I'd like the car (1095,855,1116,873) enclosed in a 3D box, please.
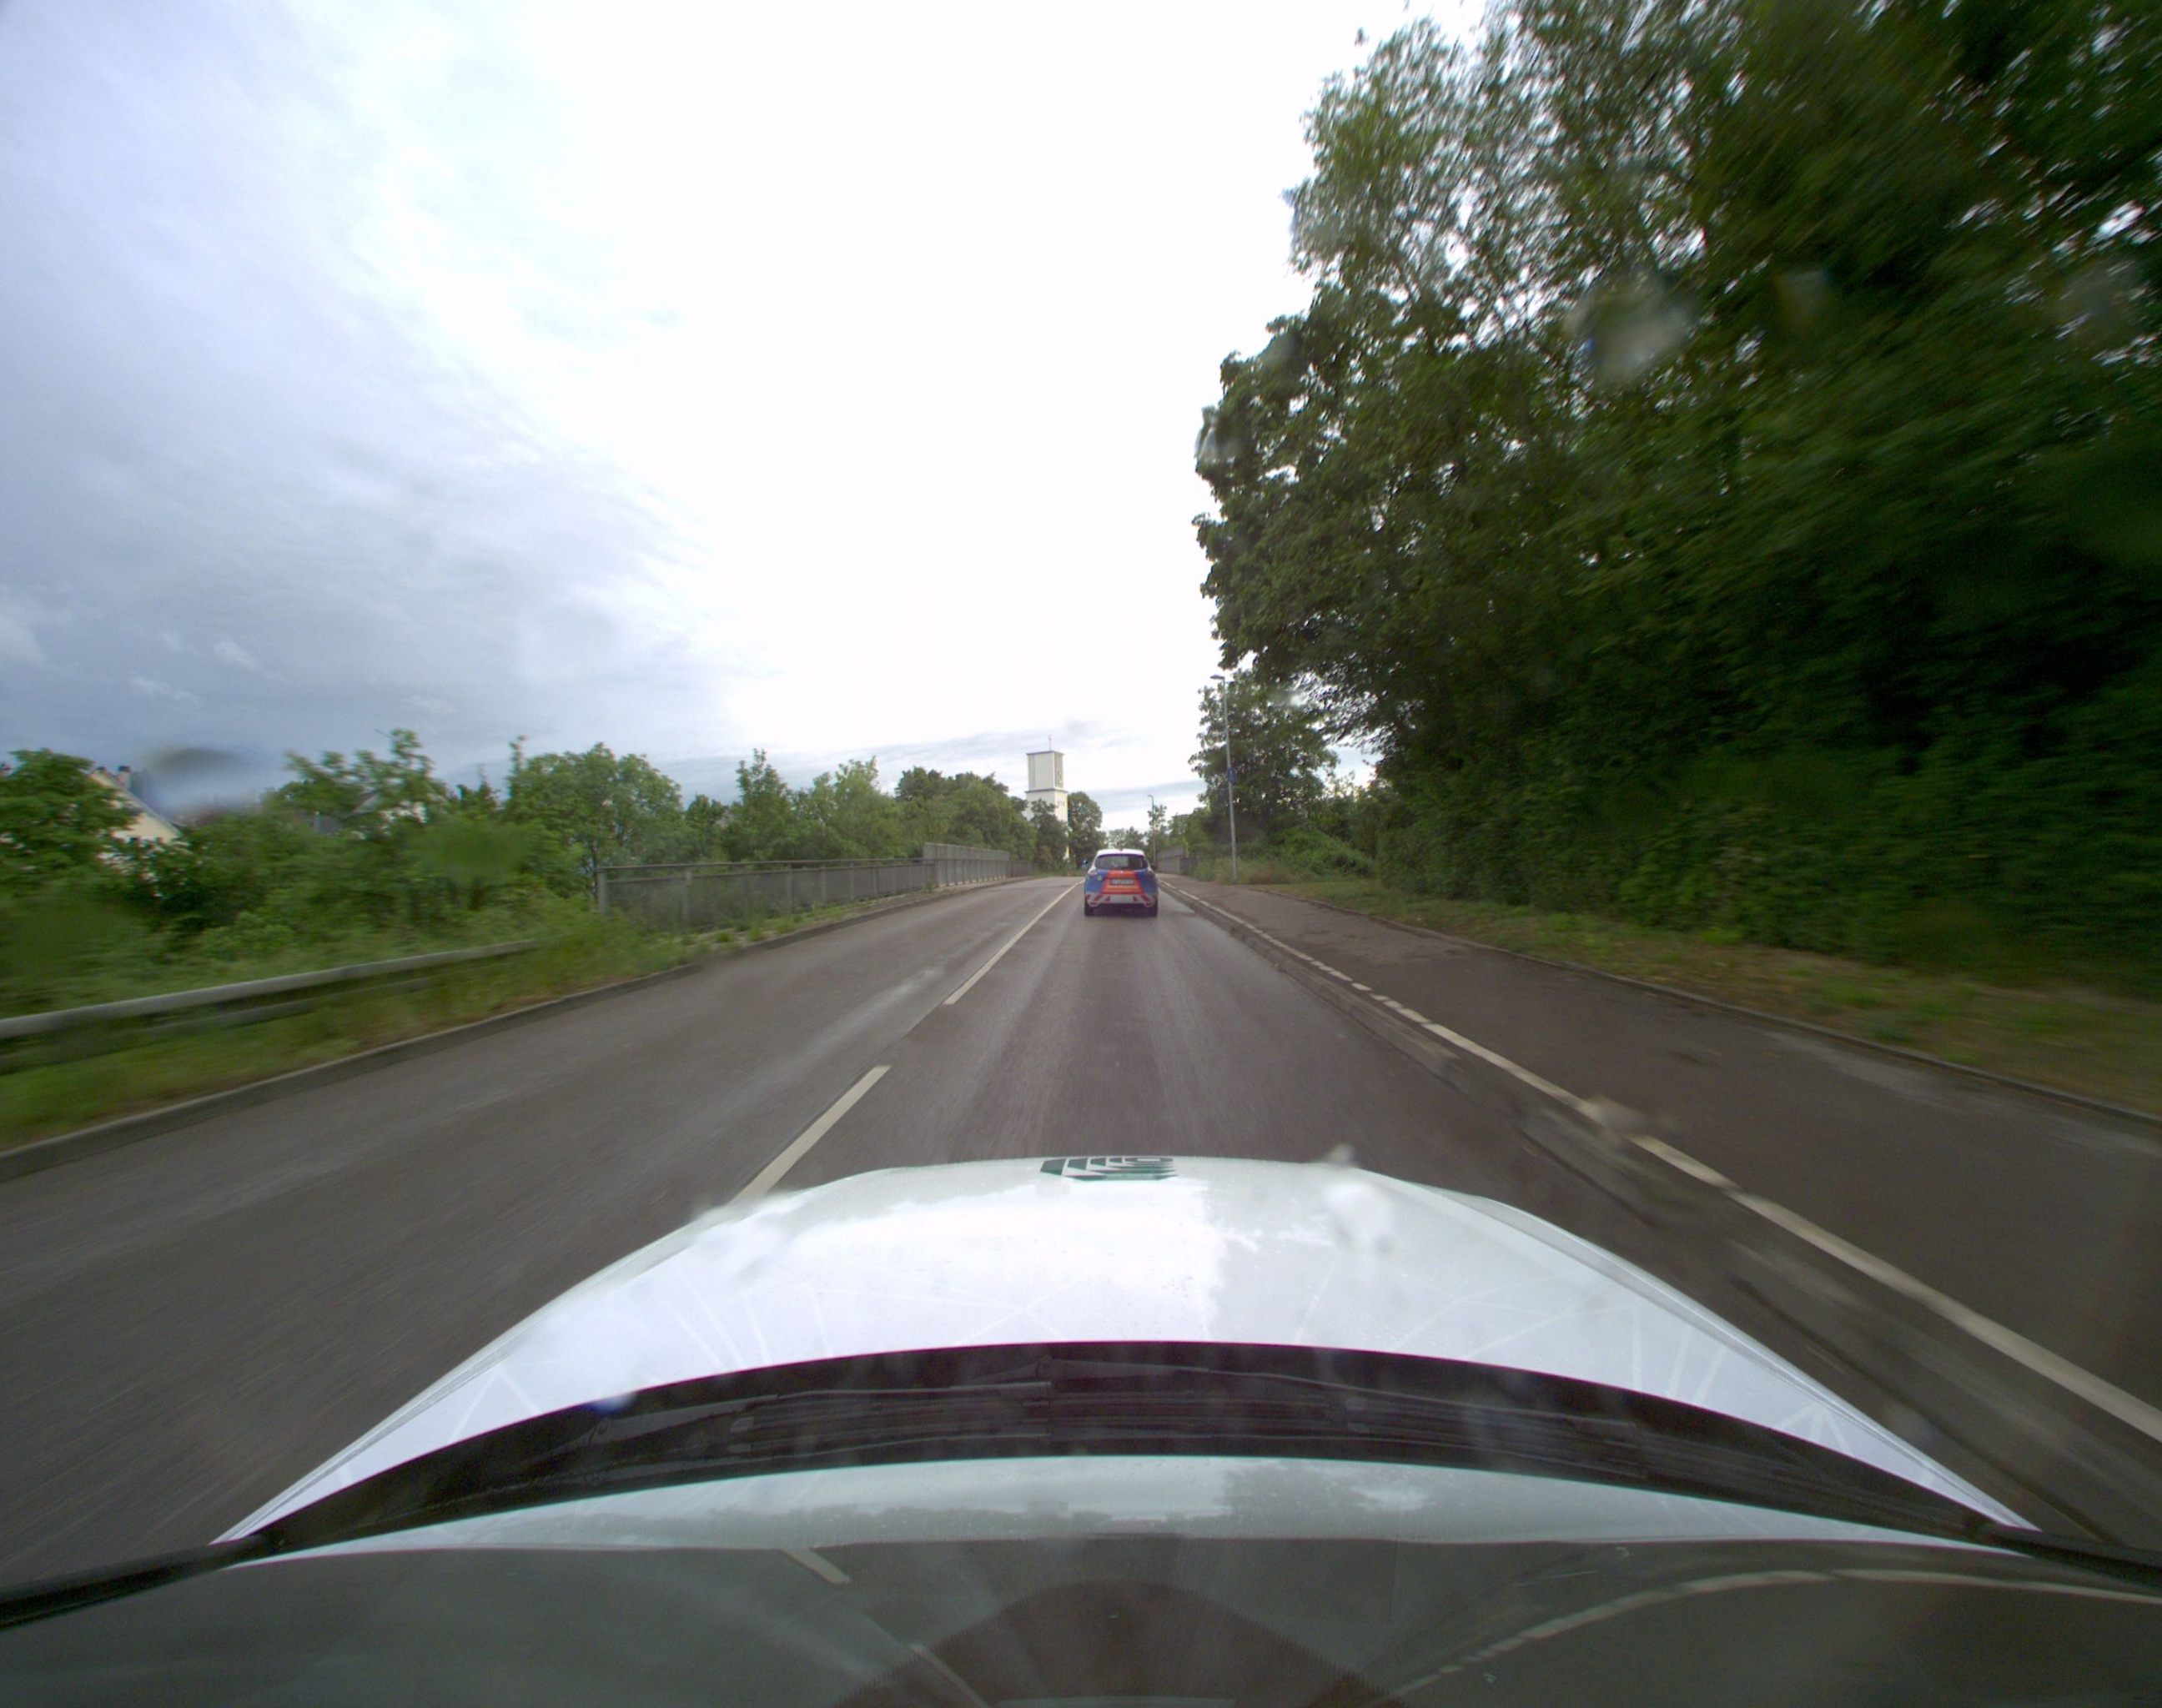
[{"bbox_3d":[2.223,0.899,75.484,1.796,1.590,3.563,-3,0,0],"label":"car"}]

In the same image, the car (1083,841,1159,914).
[{"bbox_3d":[0.958,0.538,20.024,1.651,1.593,3.570,-1,0,2],"label":"car"}]
